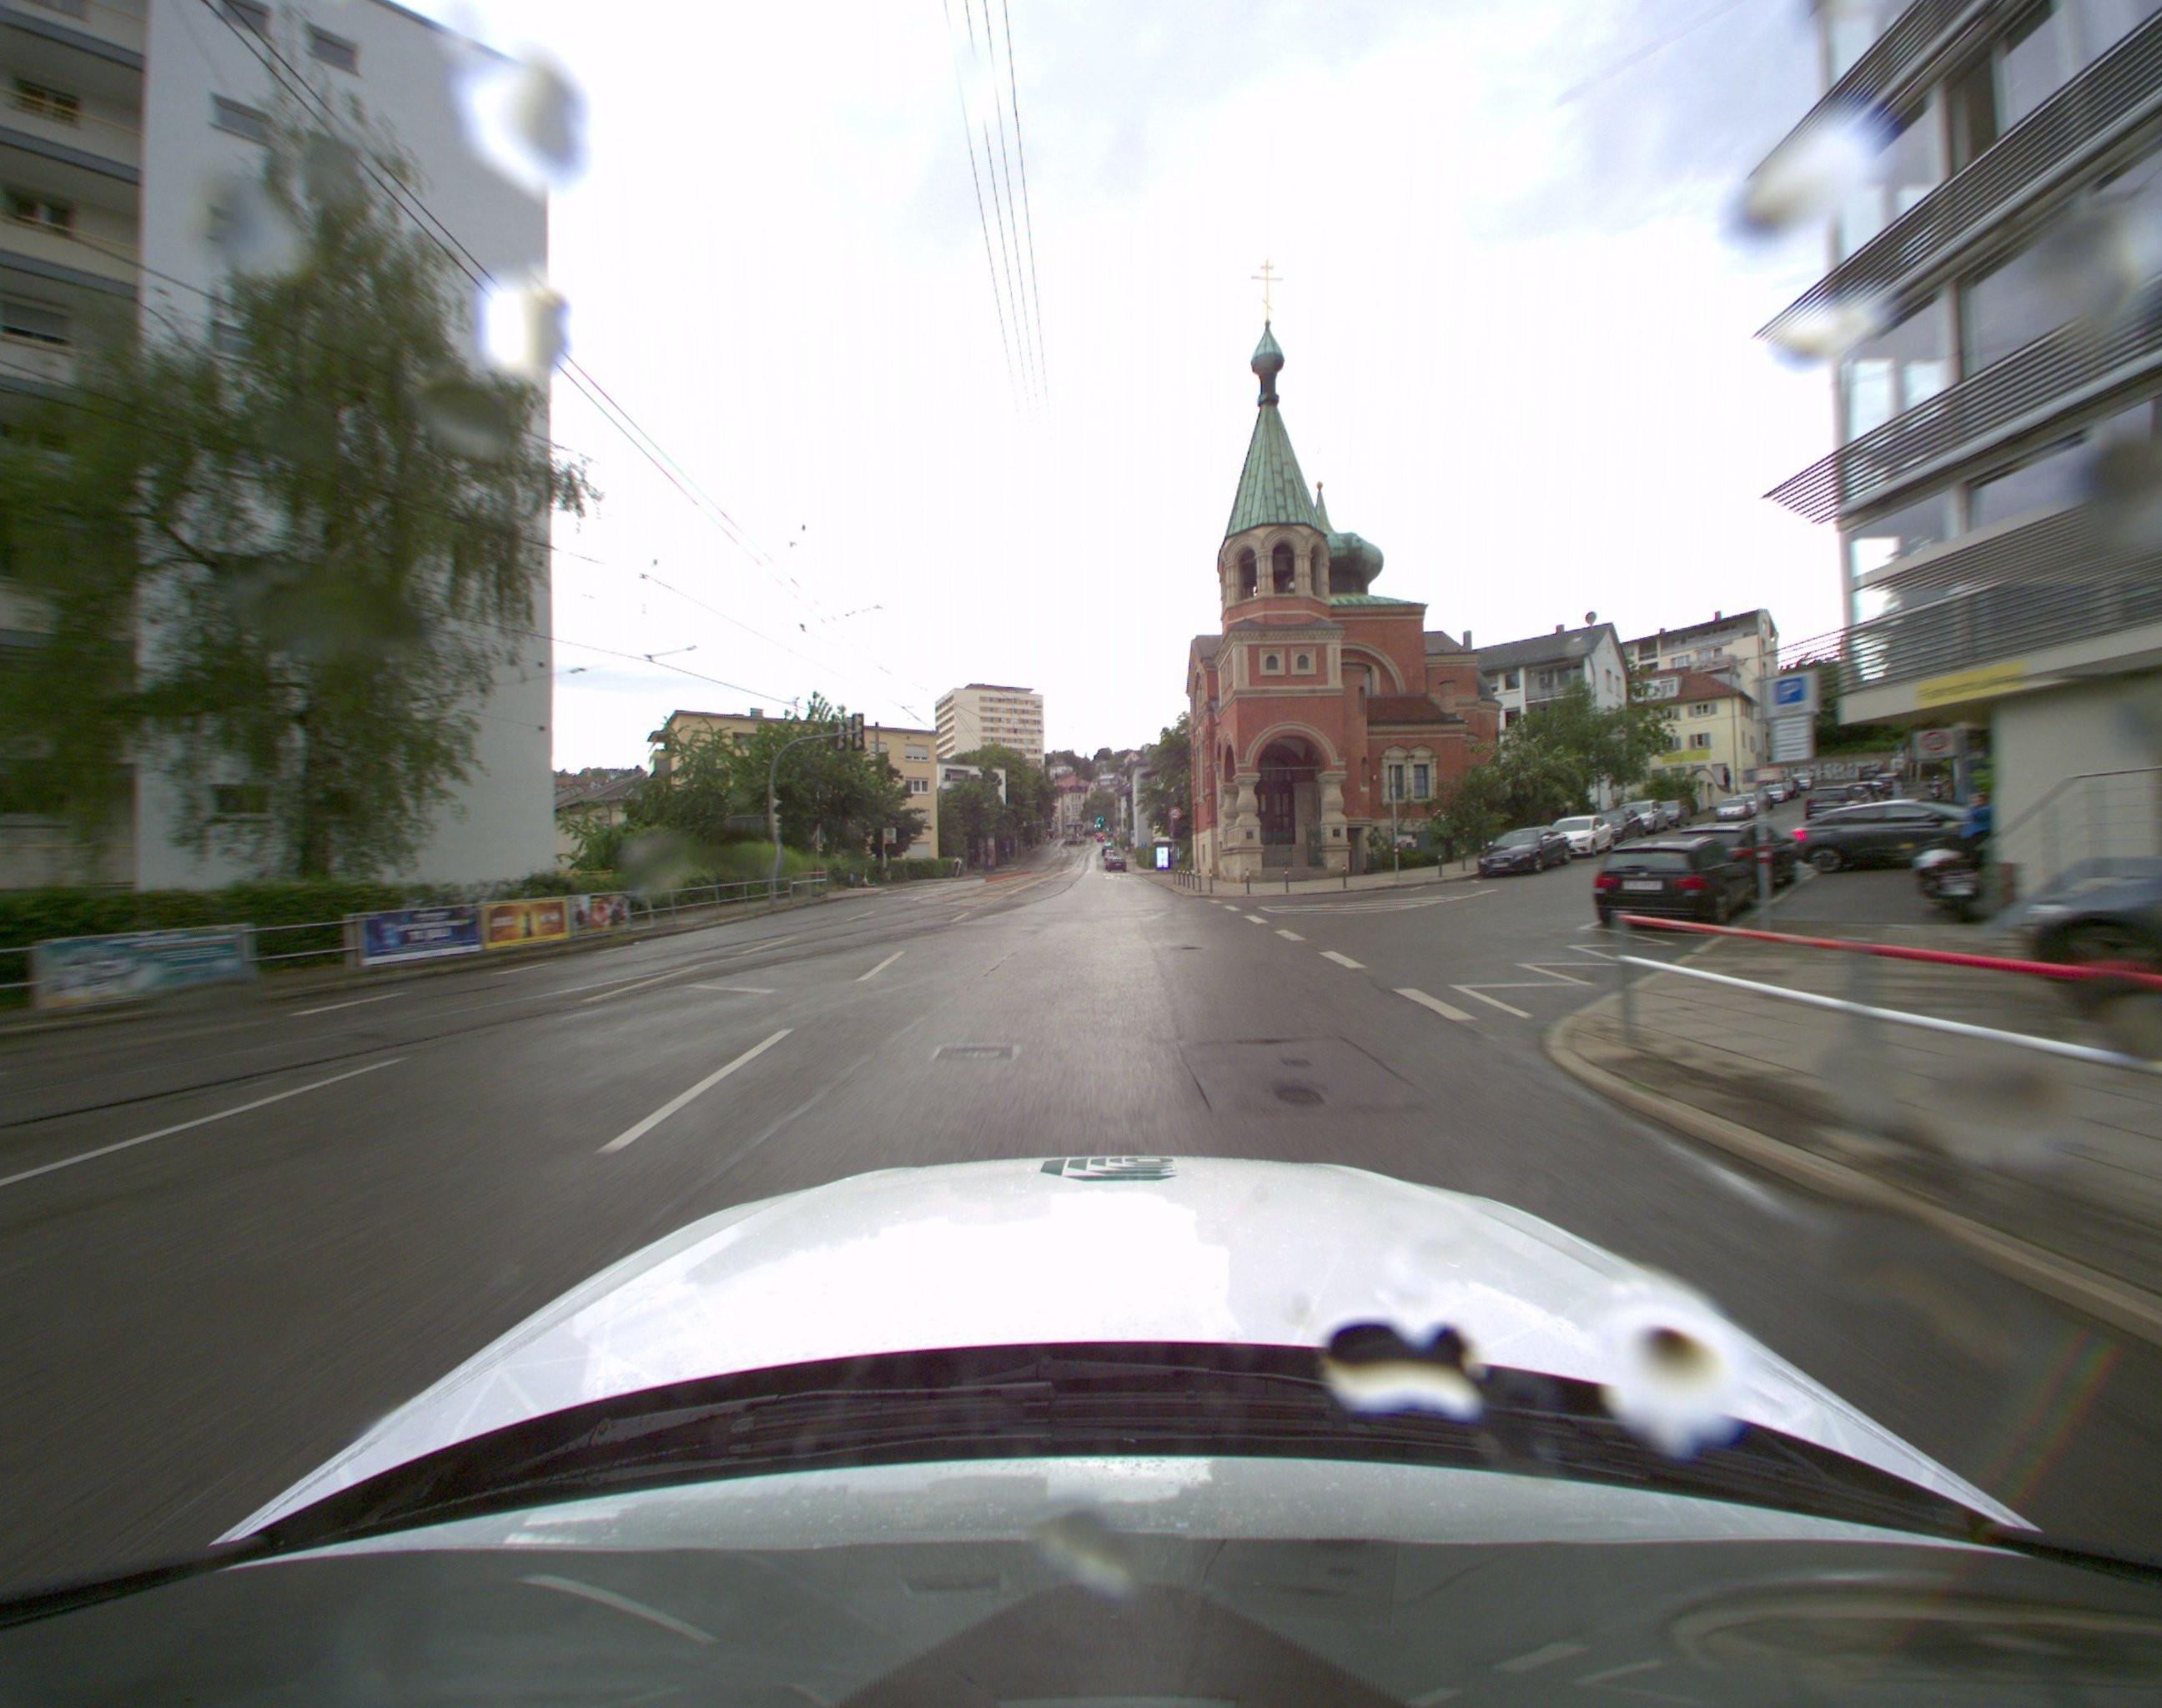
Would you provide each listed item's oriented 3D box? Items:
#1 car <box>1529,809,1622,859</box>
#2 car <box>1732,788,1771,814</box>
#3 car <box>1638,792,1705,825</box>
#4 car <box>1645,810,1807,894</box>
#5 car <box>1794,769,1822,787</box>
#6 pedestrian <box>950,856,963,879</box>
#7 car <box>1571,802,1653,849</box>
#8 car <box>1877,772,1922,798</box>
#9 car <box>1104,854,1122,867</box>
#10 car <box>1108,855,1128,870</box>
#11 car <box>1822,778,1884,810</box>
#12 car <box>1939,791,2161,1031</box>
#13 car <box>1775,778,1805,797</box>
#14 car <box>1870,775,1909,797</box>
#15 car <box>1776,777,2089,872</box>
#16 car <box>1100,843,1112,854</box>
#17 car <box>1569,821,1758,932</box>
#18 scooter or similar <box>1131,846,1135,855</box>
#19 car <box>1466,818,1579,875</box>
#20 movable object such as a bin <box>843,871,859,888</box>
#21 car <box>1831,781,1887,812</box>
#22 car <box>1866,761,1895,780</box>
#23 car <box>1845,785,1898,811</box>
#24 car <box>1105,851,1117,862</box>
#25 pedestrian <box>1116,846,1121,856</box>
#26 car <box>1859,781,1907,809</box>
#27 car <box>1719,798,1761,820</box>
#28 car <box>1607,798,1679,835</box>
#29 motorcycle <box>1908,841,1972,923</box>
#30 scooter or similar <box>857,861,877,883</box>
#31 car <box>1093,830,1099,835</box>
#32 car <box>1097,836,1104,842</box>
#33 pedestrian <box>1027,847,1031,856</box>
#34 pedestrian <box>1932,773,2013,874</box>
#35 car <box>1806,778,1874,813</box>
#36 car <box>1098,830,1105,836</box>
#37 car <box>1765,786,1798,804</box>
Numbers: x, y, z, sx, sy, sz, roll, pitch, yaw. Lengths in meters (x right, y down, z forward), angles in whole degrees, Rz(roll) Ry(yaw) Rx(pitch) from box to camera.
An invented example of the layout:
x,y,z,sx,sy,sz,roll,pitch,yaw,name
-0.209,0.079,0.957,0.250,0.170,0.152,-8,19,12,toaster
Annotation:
x,y,z,sx,sy,sz,roll,pitch,yaw,name
18.608,-0.769,30.580,3.953,1.495,1.923,-7,1,-43,car
48.596,-3.836,58.974,3.851,1.578,1.672,-7,3,-43,car
30.494,-2.351,42.012,4.475,1.506,1.918,-4,1,-43,car
14.305,-0.084,17.955,4.474,1.457,1.978,-6,2,-41,car
71.729,-7.499,80.318,3.852,1.270,1.672,-11,6,-43,car
-10.253,1.114,66.892,0.917,1.846,1.016,0,-1,-3,pedestrian
22.249,-1.220,34.087,3.653,1.443,1.918,-9,0,-43,car
55.881,-4.712,55.576,4.022,1.455,1.807,-8,4,-40,car
3.740,0.722,95.822,1.934,1.464,4.204,0,0,-1,car
3.830,0.877,84.293,1.852,1.487,4.644,0,0,0,car
39.281,-3.018,41.399,4.021,1.406,1.807,-2,0,-40,car
7.627,0.266,4.122,1.846,1.503,4.450,-4,-2,2,car
63.869,-6.010,73.325,3.852,1.204,1.672,-11,6,-43,car
64.579,-5.413,65.020,4.022,1.455,1.807,-8,4,-40,car
18.840,-0.579,18.291,2.007,1.616,4.408,-8,1,-28,car
4.249,-0.947,137.220,1.900,1.641,4.690,0,2,0,car
10.372,0.275,14.353,1.977,1.457,4.476,-1,4,45,car
7.752,-0.532,121.472,0.572,1.249,1.613,-1,4,6,scooter or similar
14.762,-0.280,27.108,4.505,1.368,1.918,-7,1,-43,car
-12.272,1.346,43.479,0.685,0.882,0.759,0,-2,-4,movable object such as a bin
42.847,-3.135,44.803,4.021,1.530,1.807,-2,0,-40,car
78.674,-8.244,80.130,4.025,1.405,1.806,-12,7,-43,car
46.988,-3.332,48.390,4.021,1.406,1.807,-3,1,-40,car
4.396,0.310,120.793,1.699,1.433,4.102,0,2,0,car
6.239,-0.515,135.741,0.879,1.582,0.802,-2,3,3,pedestrian
51.575,-3.789,52.338,4.022,1.405,1.807,-8,5,-40,car
44.823,-3.075,55.378,3.851,1.205,1.672,-7,3,-43,car
26.336,-1.770,38.108,3.868,1.515,1.918,-4,0,-43,car
12.673,0.378,11.995,2.226,0.979,0.545,-6,1,-42,motorcycle
-11.934,0.994,45.532,0.569,1.184,1.602,-1,-2,5,scooter or similar
4.782,-6.860,259.680,1.900,1.641,4.690,0,2,0,car
5.000,-3.833,207.060,1.795,1.645,4.002,0,0,2,car
-9.768,-0.502,153.112,0.581,1.600,0.868,1,1,-3,pedestrian
17.002,-0.578,15.532,1.027,1.798,0.772,-6,1,-32,pedestrian
35.082,-2.668,37.608,4.021,1.406,1.807,-2,0,-40,car
5.730,-5.994,233.164,1.900,1.641,4.690,0,2,0,car
59.267,-5.015,68.890,3.852,1.205,1.672,-8,4,-43,car
